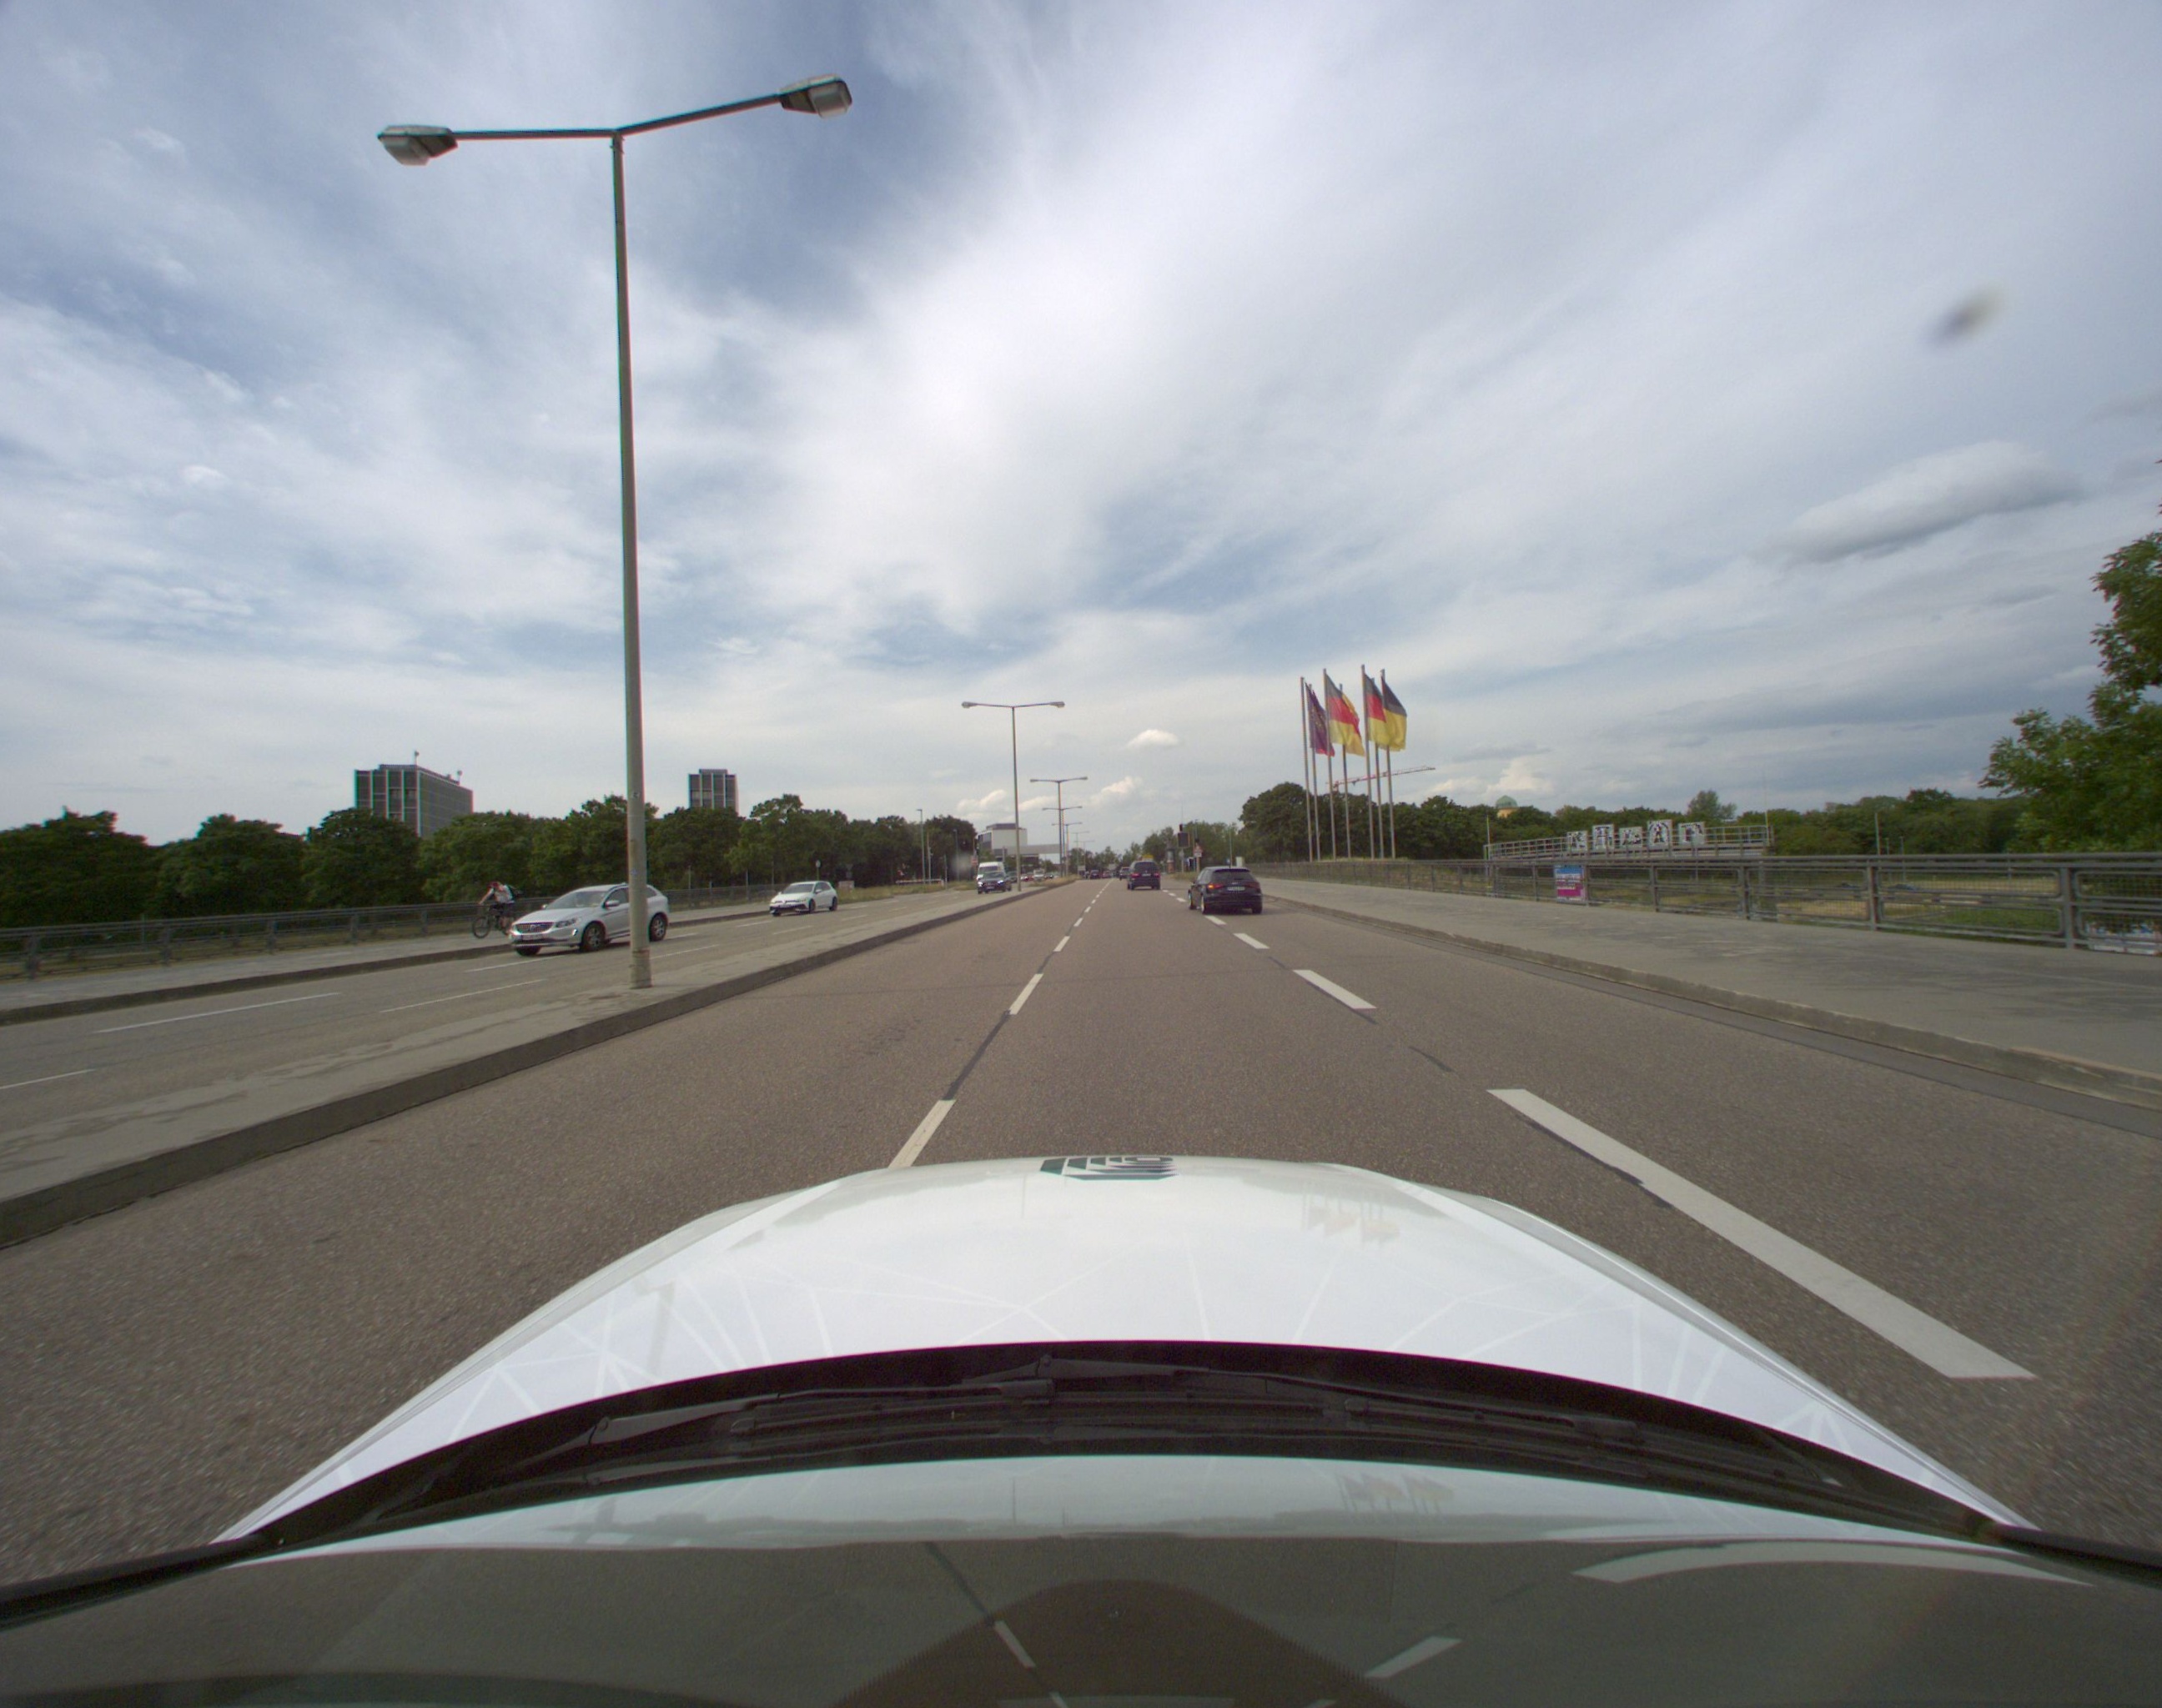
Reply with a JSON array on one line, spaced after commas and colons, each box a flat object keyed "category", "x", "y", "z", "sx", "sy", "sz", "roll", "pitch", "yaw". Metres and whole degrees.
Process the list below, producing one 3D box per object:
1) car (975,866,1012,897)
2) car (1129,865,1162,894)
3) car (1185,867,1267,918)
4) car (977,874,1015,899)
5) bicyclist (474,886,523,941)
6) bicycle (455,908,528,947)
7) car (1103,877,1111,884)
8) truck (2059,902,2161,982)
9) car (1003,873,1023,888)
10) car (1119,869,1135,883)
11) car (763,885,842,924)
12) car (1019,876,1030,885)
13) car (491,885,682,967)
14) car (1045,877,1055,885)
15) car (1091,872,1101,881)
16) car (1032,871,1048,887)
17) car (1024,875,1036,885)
[{"category": "car", "x": -8.002, "y": 2.483, "z": 75.051, "sx": 2.044, "sy": 2.643, "sz": 6.407, "roll": -4, "pitch": -1, "yaw": 4}, {"category": "car", "x": 3.856, "y": 1.556, "z": 48.981, "sx": 1.724, "sy": 1.653, "sz": 4.115, "roll": -1, "pitch": -2, "yaw": 1}, {"category": "car", "x": 4.368, "y": 1.162, "z": 25.115, "sx": 1.725, "sy": 1.395, "sz": 4.113, "roll": -2, "pitch": -2, "yaw": -1}, {"category": "car", "x": -5.586, "y": 2.150, "z": 54.058, "sx": 1.731, "sy": 1.481, "sz": 4.778, "roll": -4, "pitch": -2, "yaw": 2}, {"category": "bicyclist", "x": -17.993, "y": 1.817, "z": 25.186, "sx": 0.792, "sy": 1.626, "sz": 0.976, "roll": -1, "pitch": -2, "yaw": 0}, {"category": "bicycle", "x": -17.990, "y": 2.222, "z": 24.917, "sx": 0.704, "sy": 1.050, "sz": 2.059, "roll": -1, "pitch": -2, "yaw": 0}, {"category": "car", "x": 5.850, "y": 5.959, "z": 180.862, "sx": 1.724, "sy": 1.526, "sz": 4.116, "roll": -1, "pitch": -2, "yaw": 2}, {"category": "truck", "x": 60.956, "y": 4.777, "z": 46.313, "sx": 14.016, "sy": 3.619, "sz": 3.330, "roll": 0, "pitch": -2, "yaw": -25}, {"category": "car", "x": -8.429, "y": 3.259, "z": 100.711, "sx": 1.739, "sy": 1.585, "sz": 4.590, "roll": -4, "pitch": -1, "yaw": 3}, {"category": "car", "x": 5.709, "y": 2.705, "z": 101.468, "sx": 1.724, "sy": 1.653, "sz": 4.115, "roll": -1, "pitch": -2, "yaw": 1}, {"category": "car", "x": -12.568, "y": 2.233, "z": 37.014, "sx": 1.731, "sy": 1.481, "sz": 4.474, "roll": -4, "pitch": -2, "yaw": 3}, {"category": "car", "x": -11.380, "y": 5.375, "z": 164.410, "sx": 1.987, "sy": 1.750, "sz": 3.998, "roll": -1, "pitch": -2, "yaw": 0}, {"category": "car", "x": -12.853, "y": 1.794, "z": 21.614, "sx": 1.855, "sy": 1.725, "sz": 4.774, "roll": -4, "pitch": -2, "yaw": 3}, {"category": "car", "x": -6.707, "y": 5.853, "z": 176.704, "sx": 1.739, "sy": 1.476, "sz": 4.564, "roll": -3, "pitch": -2, "yaw": 0}, {"category": "car", "x": 2.612, "y": 3.967, "z": 142.619, "sx": 1.724, "sy": 1.653, "sz": 4.115, "roll": -1, "pitch": -2, "yaw": 1}, {"category": "car", "x": -5.195, "y": 3.199, "z": 103.677, "sx": 1.533, "sy": 1.871, "sz": 3.573, "roll": -4, "pitch": -1, "yaw": 3}, {"category": "car", "x": -9.026, "y": 4.621, "z": 143.481, "sx": 1.646, "sy": 1.574, "sz": 4.337, "roll": -4, "pitch": -2, "yaw": 0}]
